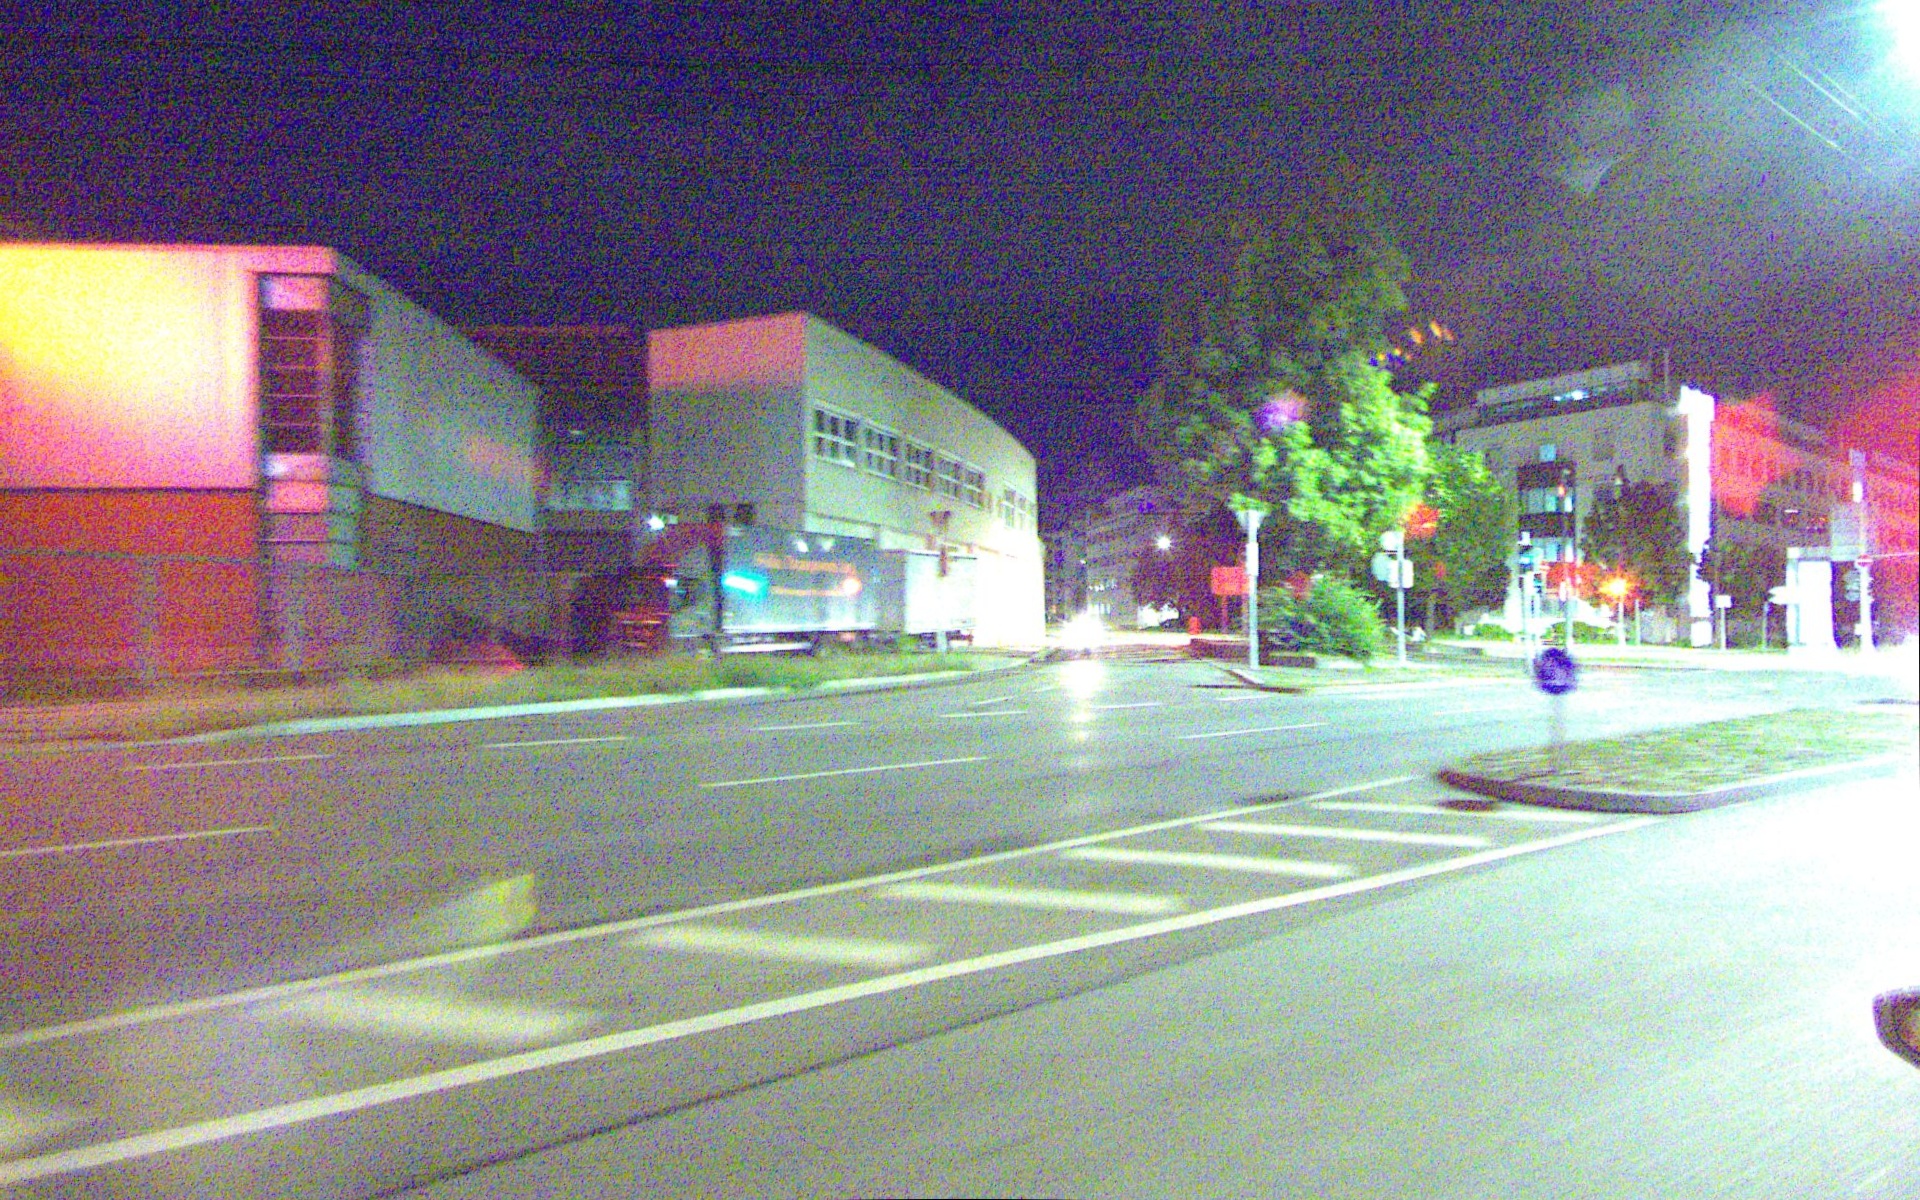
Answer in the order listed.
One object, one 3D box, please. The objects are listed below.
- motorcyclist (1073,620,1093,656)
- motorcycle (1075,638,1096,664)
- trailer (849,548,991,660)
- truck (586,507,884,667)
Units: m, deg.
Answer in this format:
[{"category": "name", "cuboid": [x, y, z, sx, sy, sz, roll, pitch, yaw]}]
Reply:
[{"category": "motorcyclist", "cuboid": [4.462, 1.387, 36.378, 0.635, 1.278, 0.579, 1, -1, 12]}, {"category": "motorcycle", "cuboid": [4.567, 1.843, 36.461, 0.568, 0.907, 2.157, -2, -2, 12]}, {"category": "trailer", "cuboid": [-1.334, 0.226, 37.790, 2.573, 3.841, 6.509, 0, -2, 26]}, {"category": "truck", "cuboid": [-5.958, -0.171, 29.019, 2.893, 3.846, 9.546, 0, -2, 27]}]
